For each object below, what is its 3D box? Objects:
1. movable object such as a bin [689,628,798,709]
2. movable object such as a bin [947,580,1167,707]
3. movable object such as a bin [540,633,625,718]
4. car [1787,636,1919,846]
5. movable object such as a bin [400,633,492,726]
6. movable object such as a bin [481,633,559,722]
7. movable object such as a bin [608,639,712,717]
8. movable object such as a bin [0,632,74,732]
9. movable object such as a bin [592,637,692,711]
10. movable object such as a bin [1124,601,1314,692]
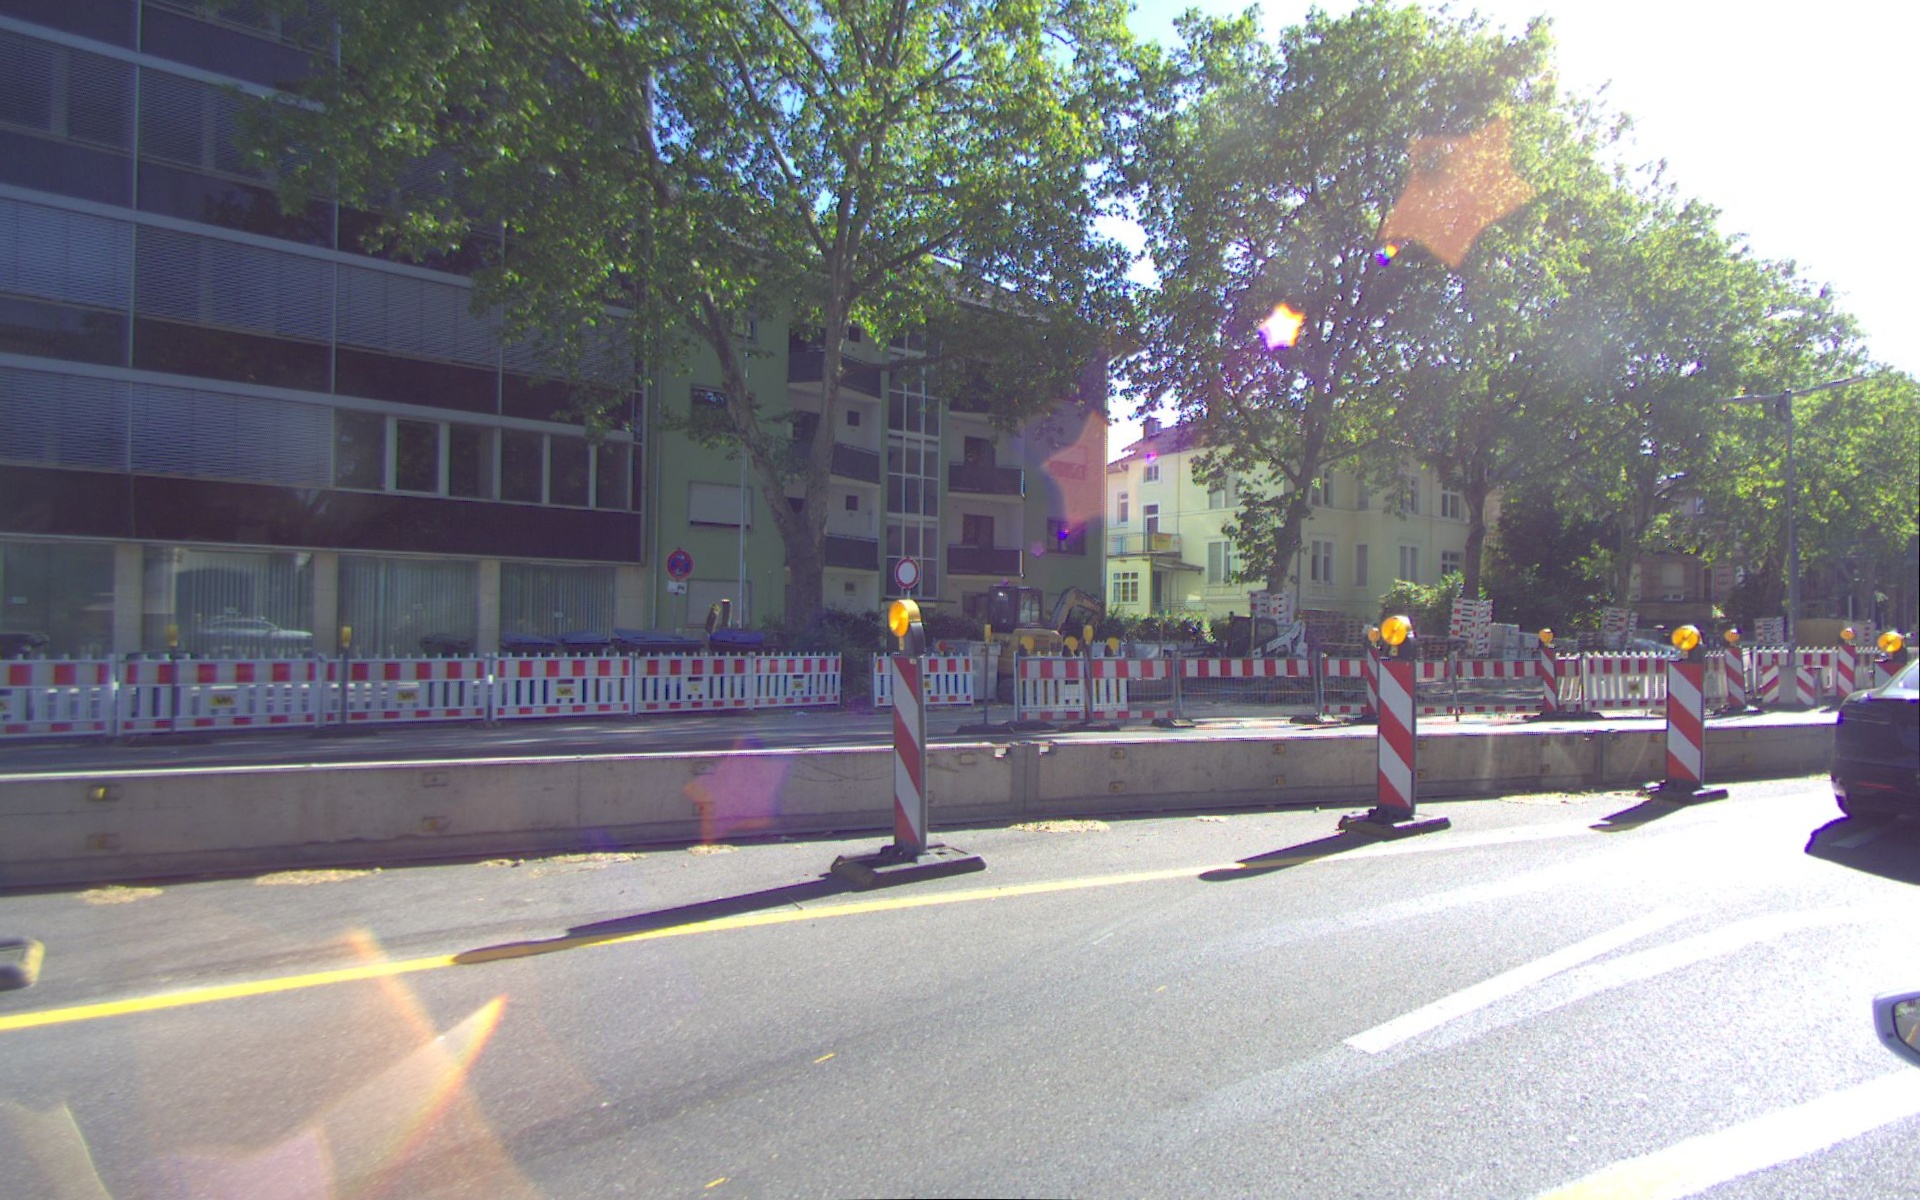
[{"bbox_3d":[-4.149,1.282,19.268,1.605,1.441,1.261,0,-1,29],"label":"movable object such as a bin"},{"bbox_3d":[2.430,1.007,24.200,5.310,2.742,2.129,2,-1,-39],"label":"movable object such as a bin"},{"bbox_3d":[-6.482,1.254,17.207,1.058,1.355,1.401,2,-1,-34],"label":"movable object such as a bin"},{"bbox_3d":[8.726,1.041,7.888,4.569,1.430,1.917,2,-1,-29],"label":"car"},{"bbox_3d":[-8.211,1.230,16.016,1.145,1.355,1.401,2,-1,-34],"label":"movable object such as a bin"},{"bbox_3d":[-7.238,1.244,16.503,0.926,1.355,1.401,1,-1,-34],"label":"movable object such as a bin"},{"bbox_3d":[-5.303,1.347,17.770,1.526,1.287,0.973,2,-1,-36],"label":"movable object such as a bin"},{"bbox_3d":[-12.576,1.049,13.157,1.228,1.219,1.386,2,-1,-33],"label":"movable object such as a bin"},{"bbox_3d":[-5.882,1.333,18.597,1.526,1.287,0.973,2,-1,-36],"label":"movable object such as a bin"},{"bbox_3d":[7.276,1.278,27.944,5.541,2.308,1.982,2,-2,-34],"label":"movable object such as a bin"}]
